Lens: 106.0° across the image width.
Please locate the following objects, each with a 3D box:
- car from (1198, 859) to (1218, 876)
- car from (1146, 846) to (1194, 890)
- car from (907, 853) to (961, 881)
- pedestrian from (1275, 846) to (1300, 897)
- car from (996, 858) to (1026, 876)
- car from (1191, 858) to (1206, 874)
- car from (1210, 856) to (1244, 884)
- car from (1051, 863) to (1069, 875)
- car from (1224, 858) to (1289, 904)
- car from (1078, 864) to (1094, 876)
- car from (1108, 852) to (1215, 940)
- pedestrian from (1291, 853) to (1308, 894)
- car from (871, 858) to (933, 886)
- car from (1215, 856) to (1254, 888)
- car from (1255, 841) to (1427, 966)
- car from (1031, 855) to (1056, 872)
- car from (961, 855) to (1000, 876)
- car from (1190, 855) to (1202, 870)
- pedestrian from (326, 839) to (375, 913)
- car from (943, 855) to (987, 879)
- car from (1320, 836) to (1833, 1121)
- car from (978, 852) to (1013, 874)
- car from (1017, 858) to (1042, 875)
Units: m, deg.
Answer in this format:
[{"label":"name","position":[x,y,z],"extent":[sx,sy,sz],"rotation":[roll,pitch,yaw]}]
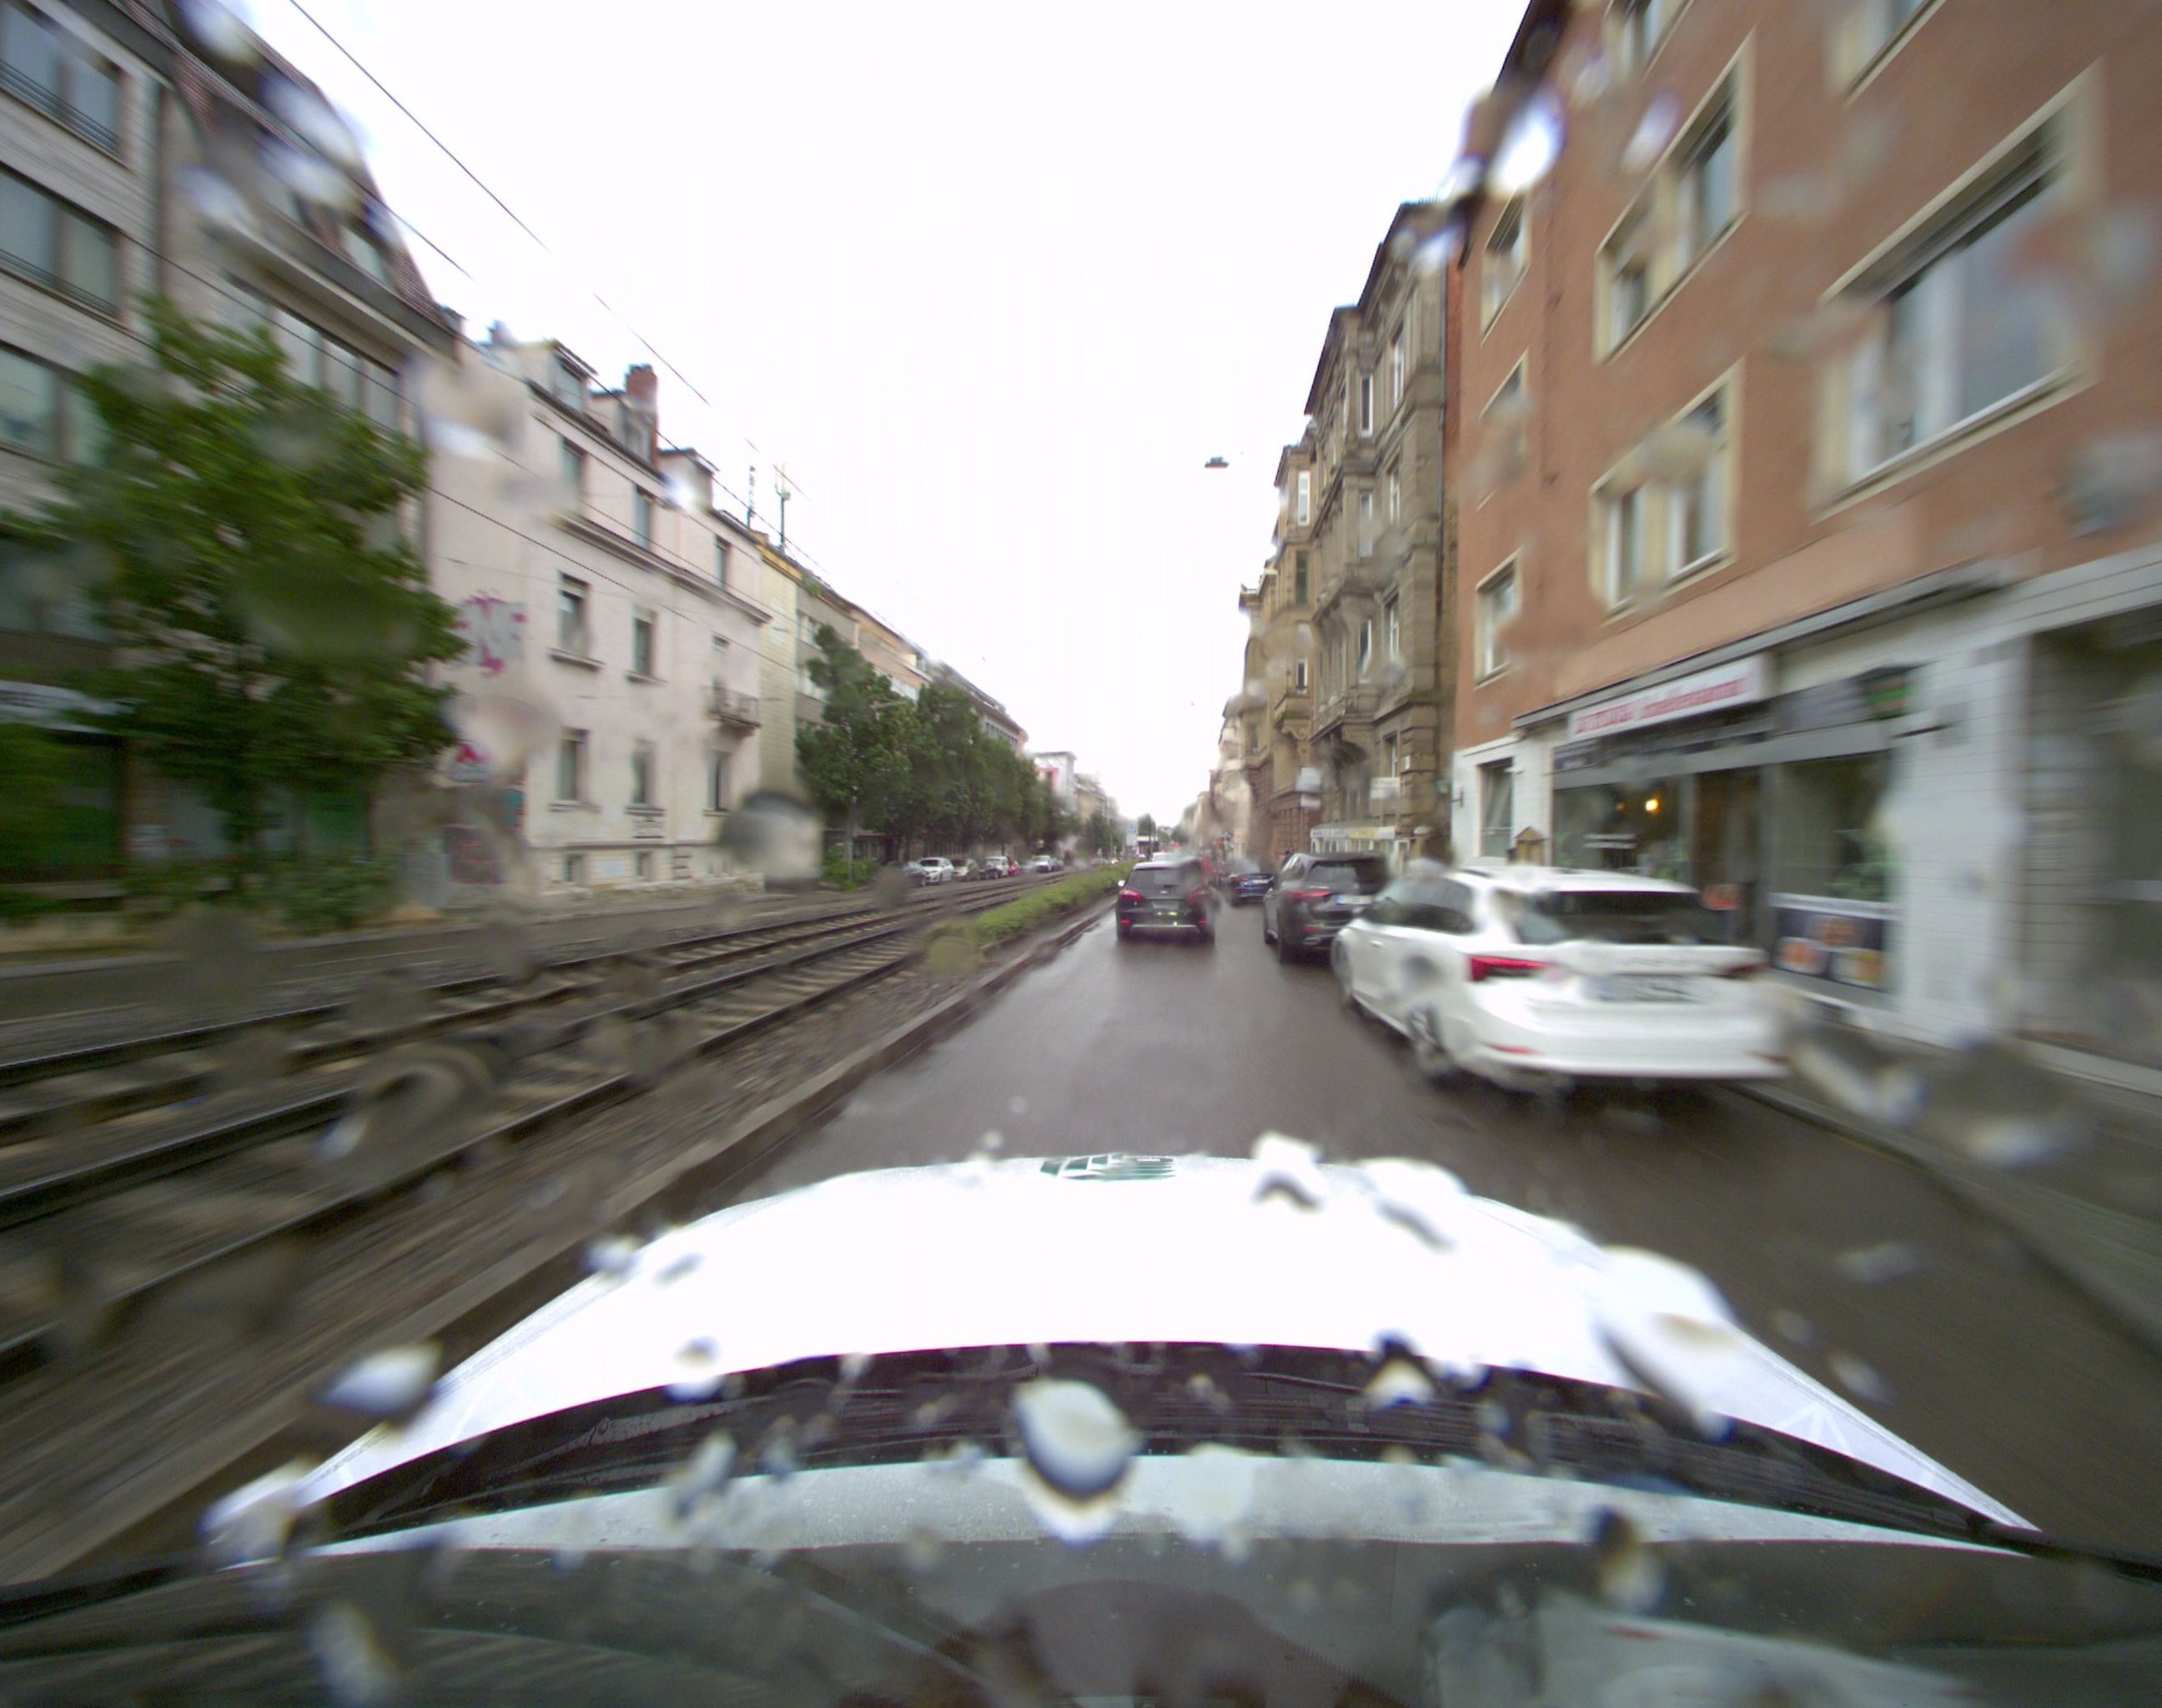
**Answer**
[{"label":"car","position":[11.281,1.191,72.479],"extent":[1.662,1.421,3.482],"rotation":[0,-1,7]},{"label":"car","position":[4.500,0.681,40.497],"extent":[1.976,2.060,4.659],"rotation":[0,0,11]},{"label":"car","position":[-8.872,0.846,49.652],"extent":[1.845,1.549,4.729],"rotation":[1,-2,7]},{"label":"pedestrian","position":[7.628,0.628,30.114],"extent":[0.699,1.819,0.963],"rotation":[-2,0,7]},{"label":"car","position":[-6.200,1.188,72.781],"extent":[1.845,1.527,4.053],"rotation":[1,-2,7]},{"label":"car","position":[15.145,1.550,105.100],"extent":[1.829,1.781,3.786],"rotation":[3,-2,7]},{"label":"car","position":[7.990,0.901,44.897],"extent":[1.569,1.460,3.827],"rotation":[0,-1,6]},{"label":"car","position":[-2.590,1.916,101.673],"extent":[1.542,1.395,4.053],"rotation":[1,-2,7]},{"label":"car","position":[5.780,0.898,27.251],"extent":[1.782,1.407,4.265],"rotation":[1,-2,7]},{"label":"car","position":[0.724,2.292,118.621],"extent":[1.845,1.637,4.053],"rotation":[1,-2,7]},{"label":"car","position":[1.547,0.765,15.950],"extent":[1.834,1.507,4.005],"rotation":[0,-1,5]},{"label":"pedestrian","position":[8.641,0.764,32.198],"extent":[0.517,1.580,0.678],"rotation":[-2,-3,7]},{"label":"car","position":[-9.445,0.991,43.367],"extent":[1.684,1.378,4.729],"rotation":[1,-2,7]},{"label":"car","position":[7.393,0.867,39.401],"extent":[1.640,1.460,3.483],"rotation":[0,-1,7]},{"label":"car","position":[3.942,0.725,13.111],"extent":[1.835,1.633,4.595],"rotation":[1,-2,7]},{"label":"car","position":[-4.086,1.084,89.112],"extent":[1.845,1.637,4.944],"rotation":[1,-2,7]},{"label":"car","position":[-7.425,0.911,60.696],"extent":[1.845,1.418,4.439],"rotation":[-2,-2,7]},{"label":"car","position":[15.670,1.199,111.009],"extent":[1.583,1.781,3.786],"rotation":[3,-2,7]},{"label":"pedestrian","position":[-16.696,0.506,18.633],"extent":[0.467,1.652,0.581],"rotation":[3,-3,-5]},{"label":"car","position":[-7.897,0.932,55.845],"extent":[1.845,1.549,4.439],"rotation":[1,-2,7]},{"label":"car","position":[3.235,0.722,6.560],"extent":[1.792,1.456,4.595],"rotation":[-1,-2,7]},{"label":"car","position":[-6.929,0.776,66.751],"extent":[1.845,1.701,4.439],"rotation":[1,-2,7]},{"label":"car","position":[-4.986,1.266,79.516],"extent":[1.659,1.558,4.053],"rotation":[1,-2,7]}]
